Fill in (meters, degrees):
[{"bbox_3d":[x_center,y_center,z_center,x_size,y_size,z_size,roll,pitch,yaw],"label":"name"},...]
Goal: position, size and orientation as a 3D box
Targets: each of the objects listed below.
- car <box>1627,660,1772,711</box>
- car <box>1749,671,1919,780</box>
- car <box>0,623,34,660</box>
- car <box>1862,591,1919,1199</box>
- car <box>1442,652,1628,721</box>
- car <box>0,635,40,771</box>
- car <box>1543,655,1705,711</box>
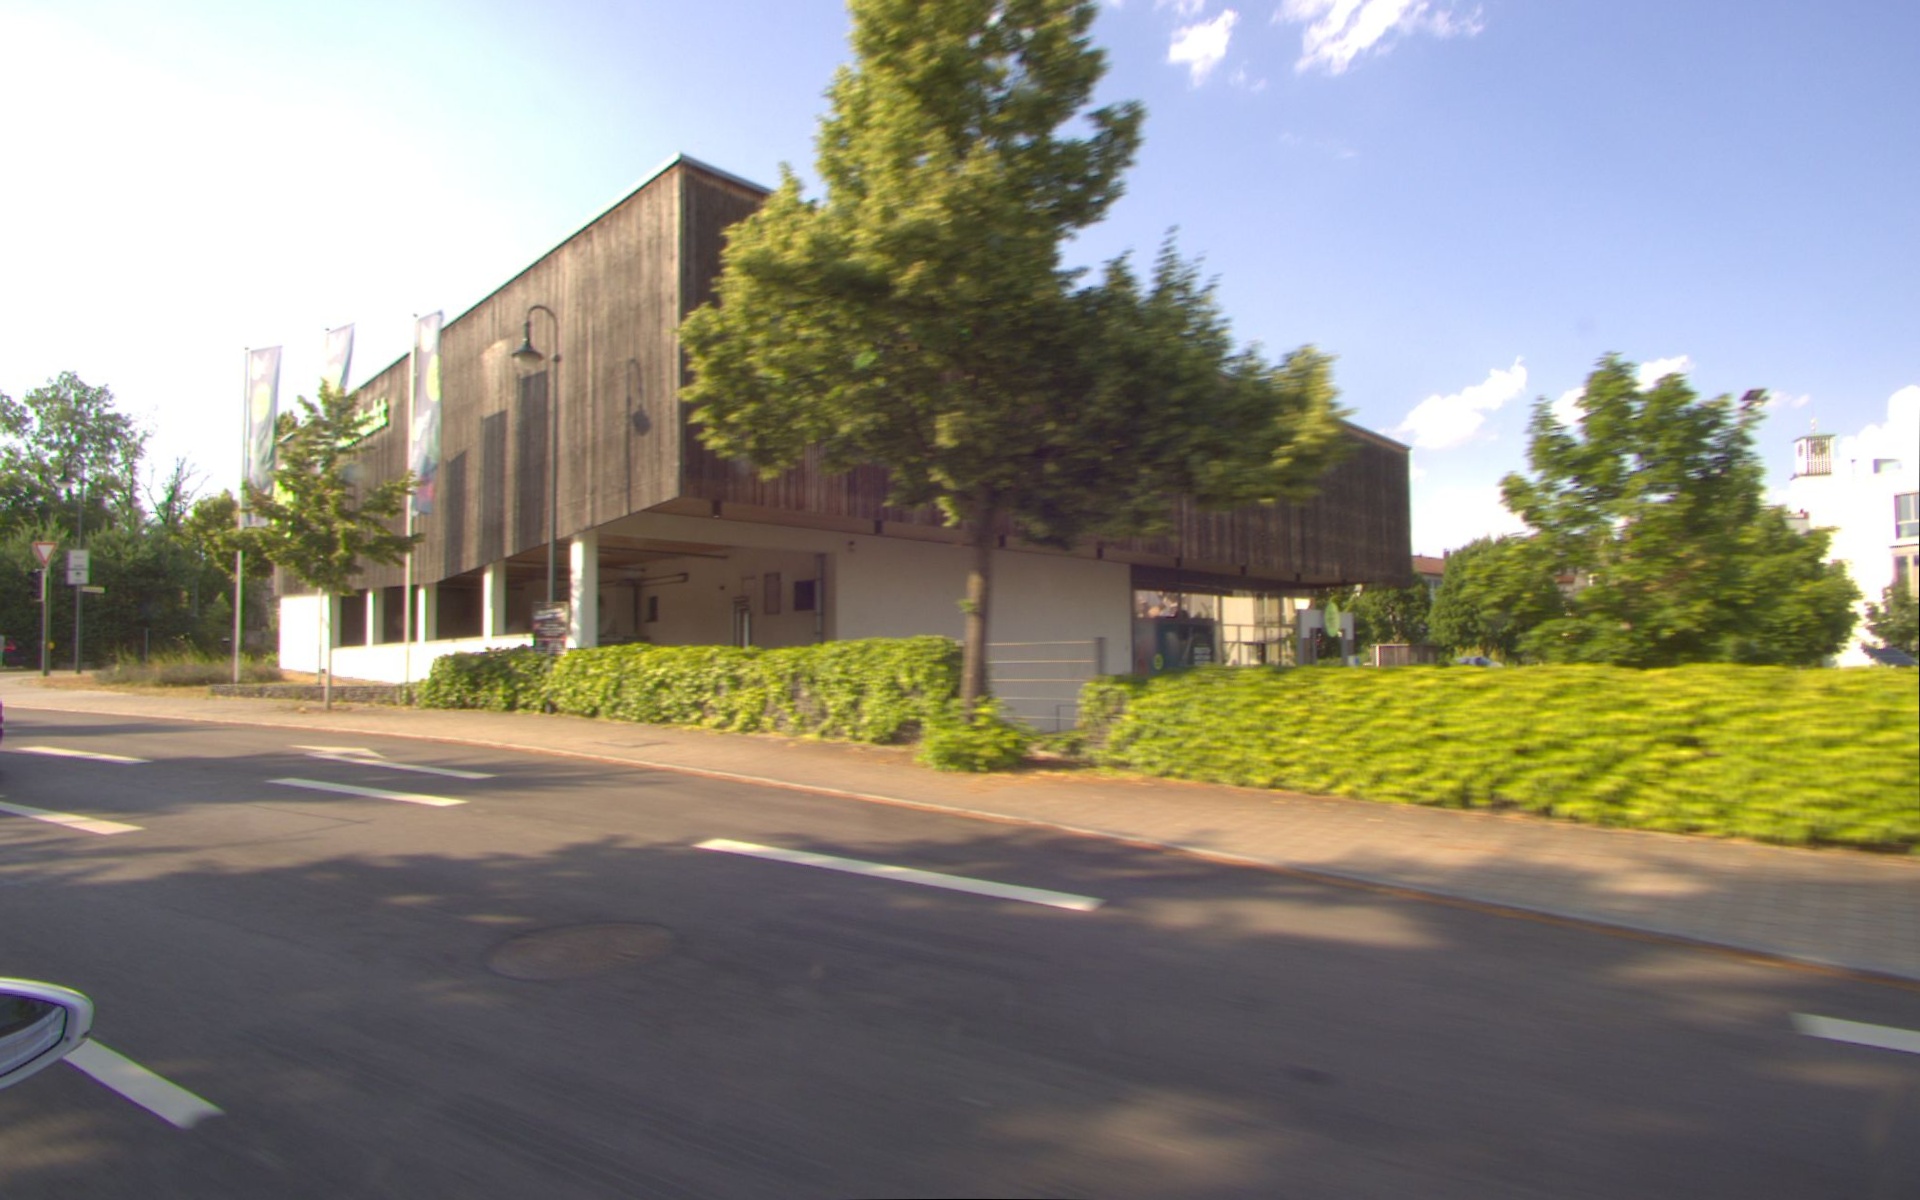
[{"bbox_3d":[26.401,2.995,35.830,3.959,1.648,1.983,-2,-3,44],"label":"car"},{"bbox_3d":[15.103,1.935,15.478,4.496,1.558,1.985,-2,-4,41],"label":"car"},{"bbox_3d":[-43.015,1.782,43.181,4.209,1.587,1.784,1,-2,-30],"label":"car"},{"bbox_3d":[3.751,0.709,0.810,4.245,1.509,1.718,0,-1,33],"label":"car"},{"bbox_3d":[15.196,2.232,26.576,3.959,1.648,1.983,-2,-3,44],"label":"car"},{"bbox_3d":[-11.948,1.079,10.703,4.288,1.381,1.919,-1,-2,30],"label":"car"},{"bbox_3d":[20.653,2.528,31.224,3.959,1.570,1.983,-2,-3,44],"label":"car"}]
